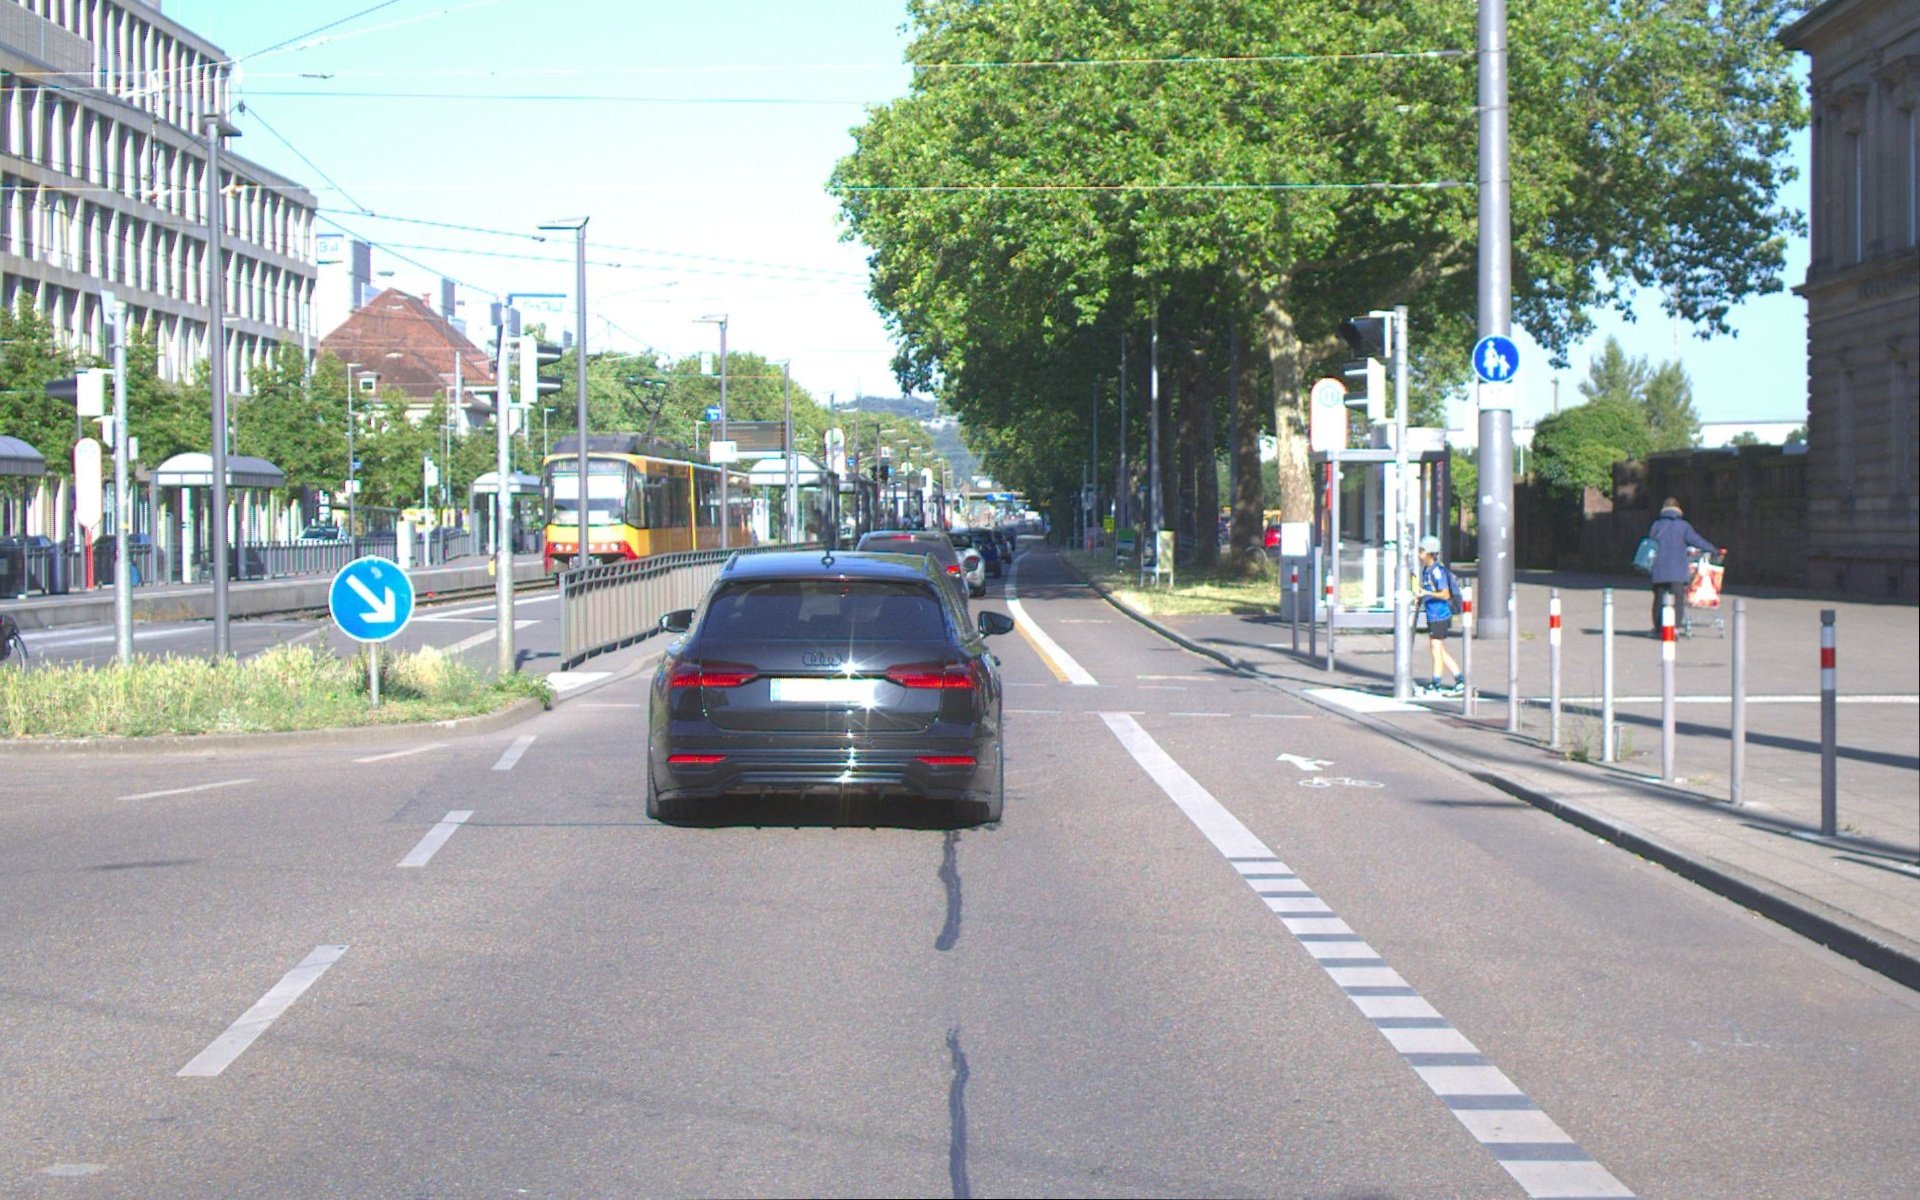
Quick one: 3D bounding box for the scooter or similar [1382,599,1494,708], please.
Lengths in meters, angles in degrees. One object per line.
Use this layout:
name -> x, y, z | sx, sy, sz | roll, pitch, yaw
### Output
scooter or similar -> 4.307, 0.478, 31.014 | 0.938, 0.963, 0.361 | -1, 0, -1

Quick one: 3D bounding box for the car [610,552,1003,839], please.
car -> -0.742, 0.457, 19.236 | 1.903, 1.417, 4.144 | 0, 1, 1

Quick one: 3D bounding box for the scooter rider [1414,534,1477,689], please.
scooter rider -> 4.375, 0.099, 31.004 | 0.484, 1.381, 0.377 | -1, 0, -1

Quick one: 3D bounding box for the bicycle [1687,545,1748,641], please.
bicycle -> 9.234, -0.091, 41.921 | 0.434, 1.141, 1.340 | 0, 1, -1

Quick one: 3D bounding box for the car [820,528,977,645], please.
car -> -0.771, -0.194, 45.848 | 1.903, 1.481, 4.144 | 0, 1, 1

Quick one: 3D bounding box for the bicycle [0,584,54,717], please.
bicycle -> -8.832, 0.430, 29.323 | 2.005, 1.104, 0.765 | 0, 1, 0

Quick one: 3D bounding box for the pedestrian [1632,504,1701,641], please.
pedestrian -> 8.610, -0.343, 41.907 | 0.682, 1.655, 0.758 | 0, 1, -1

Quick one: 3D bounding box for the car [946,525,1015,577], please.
car -> 0.614, -1.414, 100.150 | 1.903, 1.481, 4.144 | 0, 1, 1

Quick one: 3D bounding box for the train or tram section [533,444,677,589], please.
train or tram section -> -8.913, -2.115, 87.423 | 2.608, 3.439, 11.133 | 0, 1, -1

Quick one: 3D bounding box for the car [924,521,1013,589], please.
car -> 0.215, -1.010, 77.361 | 1.903, 1.481, 4.144 | 0, 1, 1
